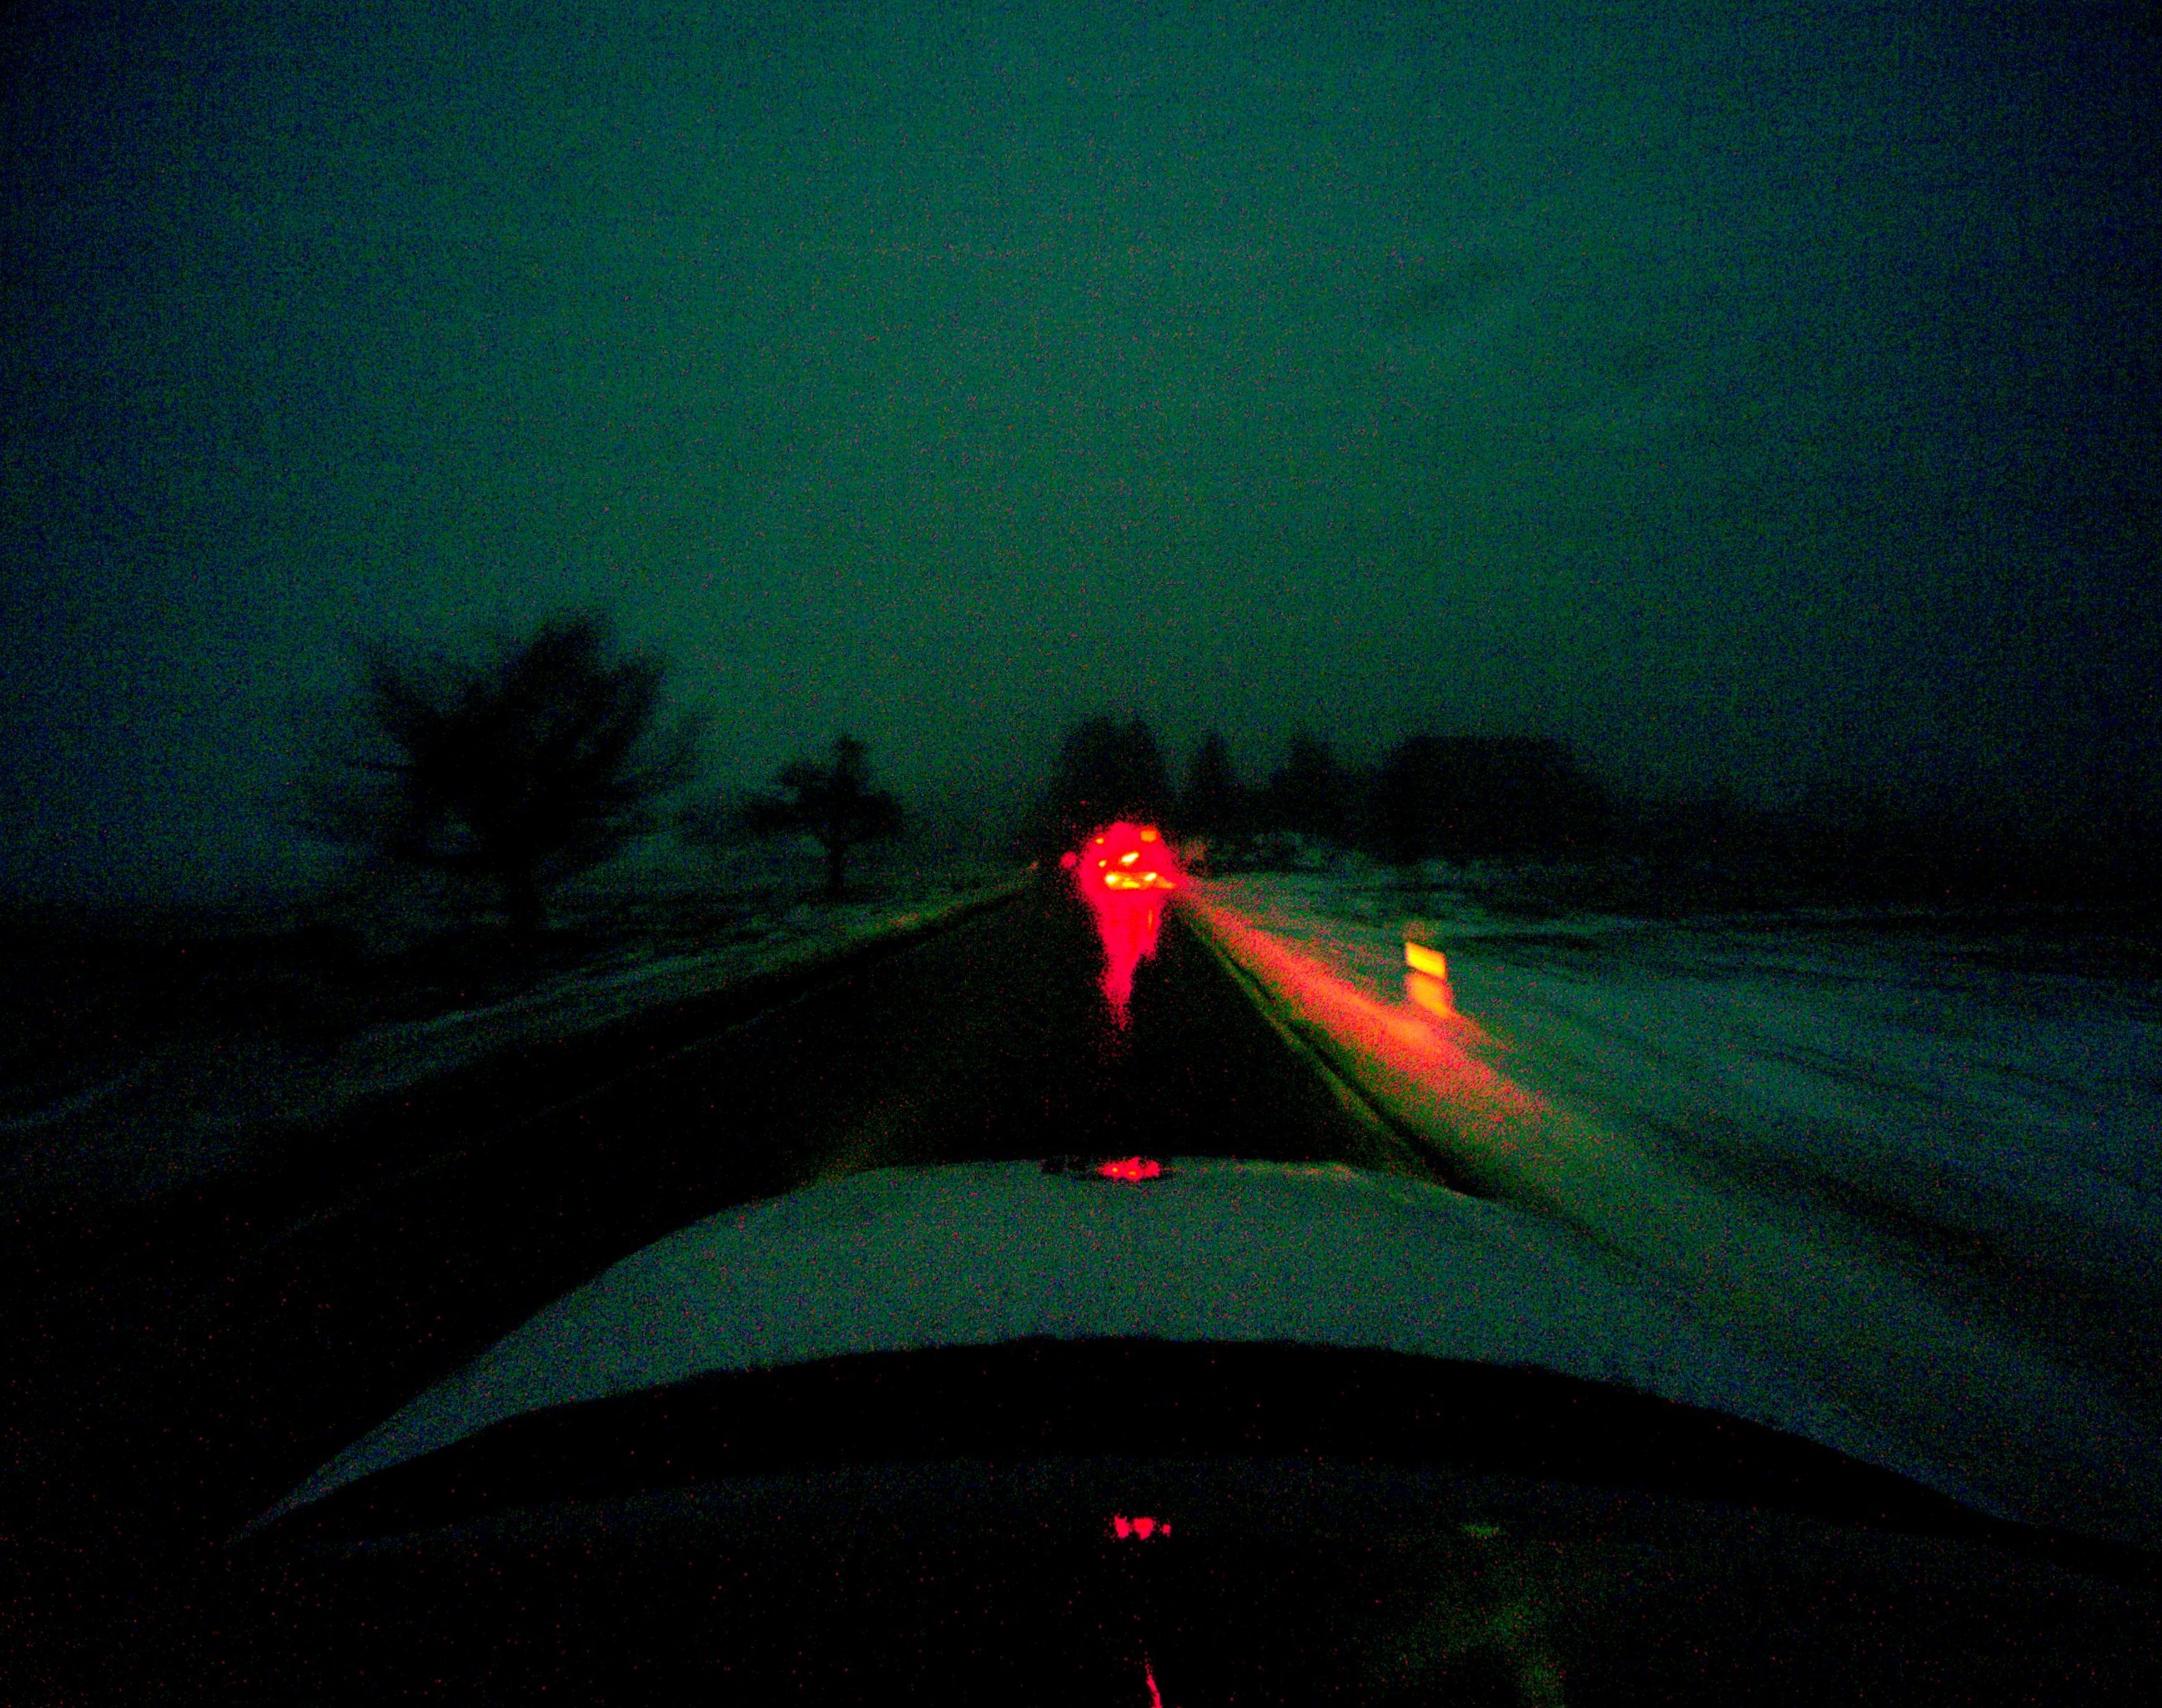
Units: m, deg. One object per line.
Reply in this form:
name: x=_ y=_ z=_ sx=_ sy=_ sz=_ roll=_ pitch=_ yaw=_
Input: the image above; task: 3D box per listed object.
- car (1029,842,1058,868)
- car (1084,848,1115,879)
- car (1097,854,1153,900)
car: x=-2.358 y=0.070 z=51.893 sx=1.516 sy=1.508 sz=3.055 roll=-2 pitch=-1 yaw=3
car: x=0.981 y=0.485 z=42.472 sx=1.472 sy=1.508 sz=3.055 roll=-2 pitch=0 yaw=3
car: x=1.475 y=0.793 z=28.479 sx=1.701 sy=1.463 sz=3.998 roll=2 pitch=-2 yaw=0
